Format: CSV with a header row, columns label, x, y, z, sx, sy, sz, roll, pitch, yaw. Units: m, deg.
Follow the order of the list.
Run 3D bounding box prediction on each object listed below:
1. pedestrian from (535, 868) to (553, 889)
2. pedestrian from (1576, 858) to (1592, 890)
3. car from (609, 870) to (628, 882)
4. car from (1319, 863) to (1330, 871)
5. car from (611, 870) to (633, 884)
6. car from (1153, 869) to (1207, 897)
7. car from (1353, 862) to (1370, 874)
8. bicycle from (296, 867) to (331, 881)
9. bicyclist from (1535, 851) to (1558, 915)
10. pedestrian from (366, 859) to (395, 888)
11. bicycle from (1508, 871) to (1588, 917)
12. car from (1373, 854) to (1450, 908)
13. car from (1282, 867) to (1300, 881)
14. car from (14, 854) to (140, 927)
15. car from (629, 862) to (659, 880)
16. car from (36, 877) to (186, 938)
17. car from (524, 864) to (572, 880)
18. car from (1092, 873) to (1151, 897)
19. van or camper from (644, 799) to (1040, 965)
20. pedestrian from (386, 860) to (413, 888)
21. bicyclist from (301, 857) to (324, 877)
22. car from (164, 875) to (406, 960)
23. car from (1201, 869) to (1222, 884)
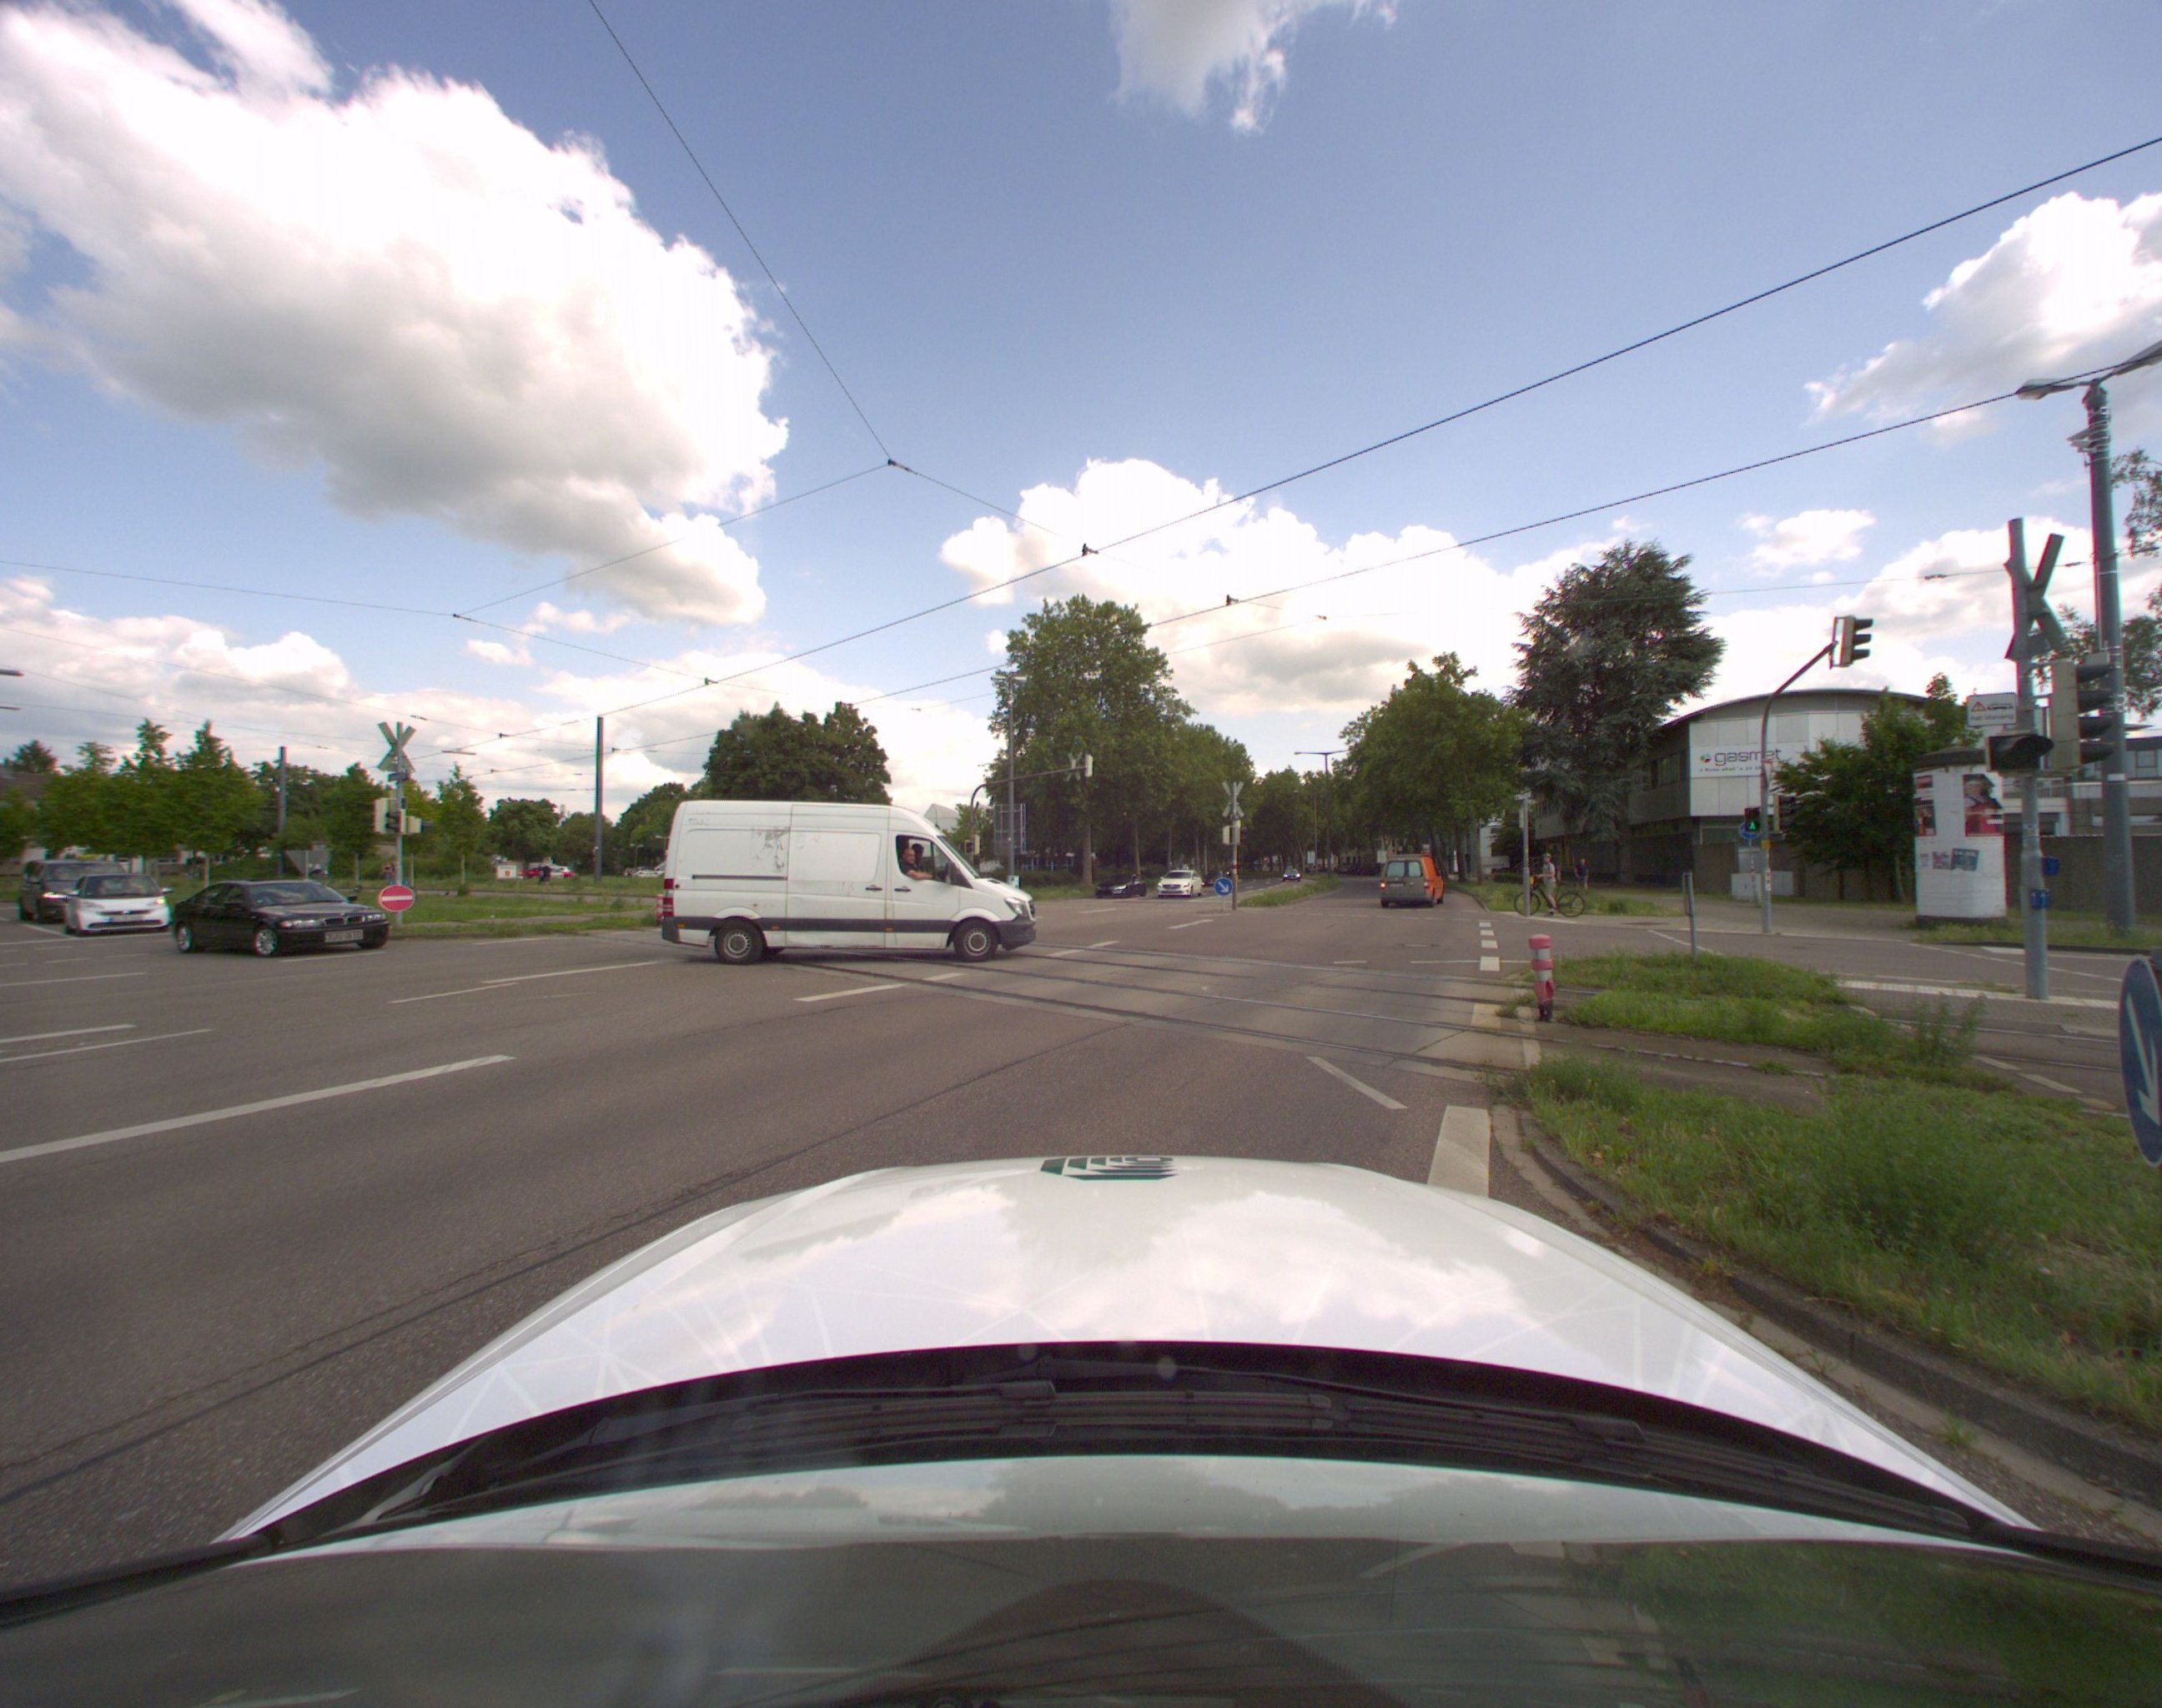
label,x,y,z,sx,sy,sz,roll,pitch,yaw
pedestrian,-35.609,1.600,54.011,0.742,1.354,0.655,-1,1,30
pedestrian,25.679,1.017,41.554,0.615,1.569,0.562,-1,1,23
car,-68.327,3.215,120.295,2.008,1.640,4.343,0,-1,-35
car,50.549,2.641,169.251,1.980,1.574,4.014,-1,1,12
car,-57.825,2.869,102.579,2.008,1.640,4.343,0,-1,-35
car,5.297,1.480,43.100,1.809,1.364,4.159,-1,-1,22
car,44.537,2.214,129.439,1.980,1.574,4.014,-1,1,12
bicycle,-58.722,1.512,62.284,1.965,1.040,0.954,0,-1,10
bicyclist,13.272,0.814,23.218,0.538,1.809,0.544,-1,1,33
pedestrian,-50.113,1.390,58.249,1.163,2.014,1.112,-1,-1,23
bicycle,13.293,1.113,23.218,1.927,1.235,0.544,-1,1,33
car,12.034,0.929,29.530,1.860,1.800,4.397,-1,-1,32
car,22.423,2.161,86.961,1.646,1.271,3.782,-1,1,11
car,-31.886,1.098,25.833,4.326,2.155,1.867,-1,-1,31
car,-40.885,1.604,76.105,2.008,1.640,4.343,0,-1,-35
car,-25.554,1.331,21.425,4.326,1.431,1.823,-1,-1,31
car,-53.117,1.802,81.162,4.016,1.530,1.979,0,-1,-35
car,2.225,1.645,43.725,1.619,1.192,3.731,-1,-1,31
van or camper,-3.730,0.423,13.673,6.008,2.524,1.978,0,-1,-6
pedestrian,-49.666,1.416,59.349,1.163,2.014,1.112,-1,-1,22
bicyclist,-58.792,0.998,62.312,0.828,1.489,0.966,0,-1,10
car,-15.386,1.186,15.737,4.414,1.431,1.822,-2,-2,24
car,11.205,1.925,69.743,1.624,1.192,3.719,0,-1,10
